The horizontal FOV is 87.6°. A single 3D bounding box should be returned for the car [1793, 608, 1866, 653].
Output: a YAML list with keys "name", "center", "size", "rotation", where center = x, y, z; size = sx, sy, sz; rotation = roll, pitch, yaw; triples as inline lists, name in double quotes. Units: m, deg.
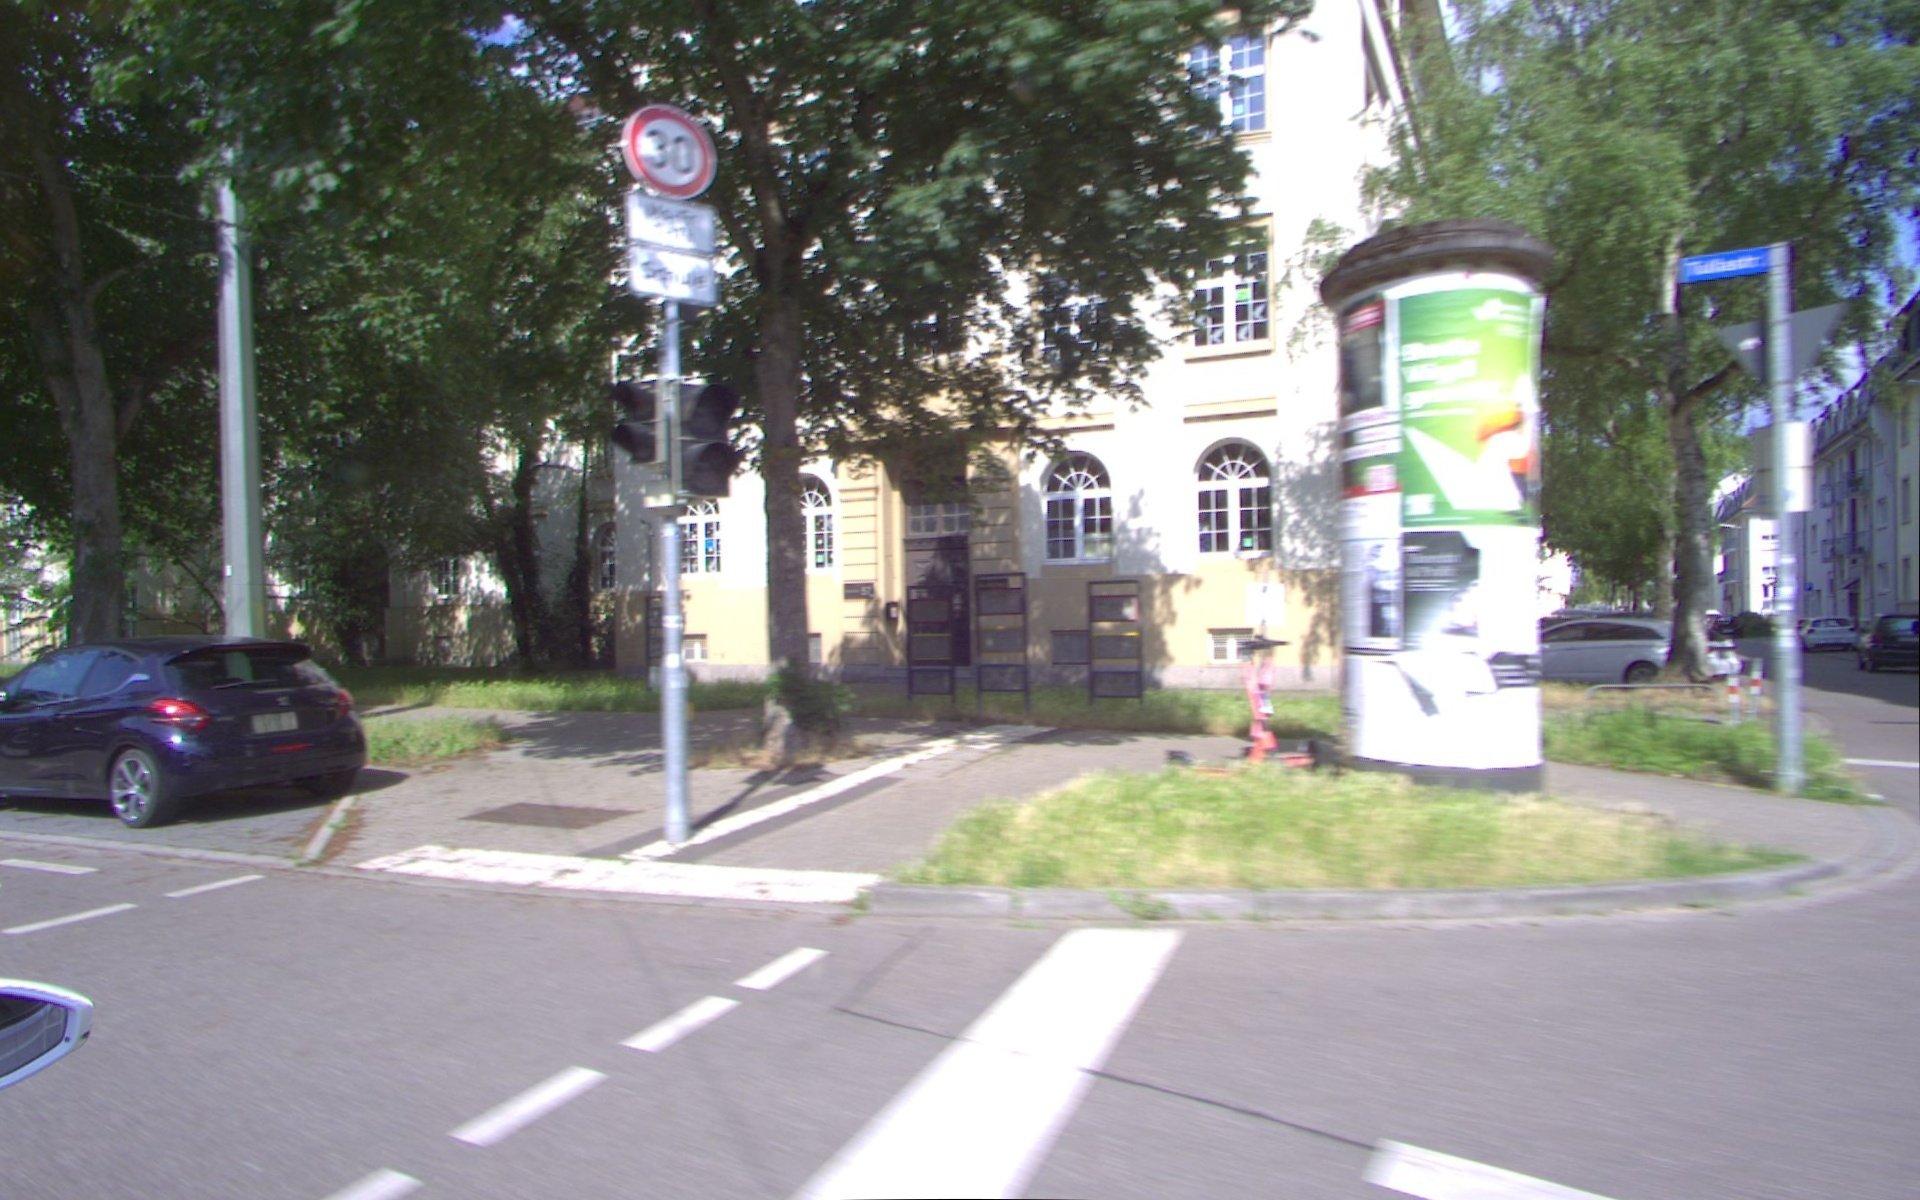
- name: "car"
  center: [35.485, 1.209, 40.954]
  size: [1.713, 1.761, 3.629]
  rotation: [-1, -1, 33]

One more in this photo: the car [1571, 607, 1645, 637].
- name: "car"
  center: [38.850, 1.324, 60.115]
  size: [1.392, 1.686, 3.491]
  rotation: [-1, -1, -32]

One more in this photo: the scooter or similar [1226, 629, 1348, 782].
- name: "scooter or similar"
  center: [2.865, 0.889, 8.762]
  size: [1.011, 1.247, 0.435]
  rotation: [0, 0, -30]

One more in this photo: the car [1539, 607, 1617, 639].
- name: "car"
  center: [29.453, 1.097, 47.730]
  size: [1.219, 1.434, 2.967]
  rotation: [0, -1, -44]

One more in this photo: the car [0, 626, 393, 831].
- name: "car"
  center: [-7.216, 1.008, 8.908]
  size: [3.838, 1.452, 1.766]
  rotation: [-1, 0, 22]

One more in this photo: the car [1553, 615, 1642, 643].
- name: "car"
  center: [34.260, 1.567, 53.931]
  size: [1.684, 1.416, 3.725]
  rotation: [-1, -1, -26]

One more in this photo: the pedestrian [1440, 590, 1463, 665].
- name: "pedestrian"
  center: [13.534, 0.764, 27.560]
  size: [0.495, 2.040, 0.625]
  rotation: [-1, 0, 31]

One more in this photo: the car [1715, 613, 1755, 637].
- name: "car"
  center: [49.900, 1.624, 64.543]
  size: [1.713, 1.485, 3.629]
  rotation: [-1, -1, 33]

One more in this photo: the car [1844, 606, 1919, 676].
- name: "car"
  center: [25.155, 1.067, 26.787]
  size: [1.712, 1.761, 3.630]
  rotation: [0, -1, 33]

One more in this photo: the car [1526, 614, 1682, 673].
- name: "car"
  center: [17.511, 1.145, 27.371]
  size: [1.568, 1.475, 3.255]
  rotation: [-1, -1, -25]

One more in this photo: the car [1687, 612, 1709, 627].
- name: "car"
  center: [72.103, 1.911, 97.863]
  size: [1.472, 1.485, 3.279]
  rotation: [-1, -1, 33]

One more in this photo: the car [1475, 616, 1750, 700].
- name: "car"
  center: [13.205, 1.113, 20.585]
  size: [1.598, 1.505, 4.521]
  rotation: [0, -1, -30]

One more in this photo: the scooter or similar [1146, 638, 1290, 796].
- name: "scooter or similar"
  center: [2.102, 0.924, 8.250]
  size: [0.303, 1.205, 1.151]
  rotation: [-1, 0, -44]
